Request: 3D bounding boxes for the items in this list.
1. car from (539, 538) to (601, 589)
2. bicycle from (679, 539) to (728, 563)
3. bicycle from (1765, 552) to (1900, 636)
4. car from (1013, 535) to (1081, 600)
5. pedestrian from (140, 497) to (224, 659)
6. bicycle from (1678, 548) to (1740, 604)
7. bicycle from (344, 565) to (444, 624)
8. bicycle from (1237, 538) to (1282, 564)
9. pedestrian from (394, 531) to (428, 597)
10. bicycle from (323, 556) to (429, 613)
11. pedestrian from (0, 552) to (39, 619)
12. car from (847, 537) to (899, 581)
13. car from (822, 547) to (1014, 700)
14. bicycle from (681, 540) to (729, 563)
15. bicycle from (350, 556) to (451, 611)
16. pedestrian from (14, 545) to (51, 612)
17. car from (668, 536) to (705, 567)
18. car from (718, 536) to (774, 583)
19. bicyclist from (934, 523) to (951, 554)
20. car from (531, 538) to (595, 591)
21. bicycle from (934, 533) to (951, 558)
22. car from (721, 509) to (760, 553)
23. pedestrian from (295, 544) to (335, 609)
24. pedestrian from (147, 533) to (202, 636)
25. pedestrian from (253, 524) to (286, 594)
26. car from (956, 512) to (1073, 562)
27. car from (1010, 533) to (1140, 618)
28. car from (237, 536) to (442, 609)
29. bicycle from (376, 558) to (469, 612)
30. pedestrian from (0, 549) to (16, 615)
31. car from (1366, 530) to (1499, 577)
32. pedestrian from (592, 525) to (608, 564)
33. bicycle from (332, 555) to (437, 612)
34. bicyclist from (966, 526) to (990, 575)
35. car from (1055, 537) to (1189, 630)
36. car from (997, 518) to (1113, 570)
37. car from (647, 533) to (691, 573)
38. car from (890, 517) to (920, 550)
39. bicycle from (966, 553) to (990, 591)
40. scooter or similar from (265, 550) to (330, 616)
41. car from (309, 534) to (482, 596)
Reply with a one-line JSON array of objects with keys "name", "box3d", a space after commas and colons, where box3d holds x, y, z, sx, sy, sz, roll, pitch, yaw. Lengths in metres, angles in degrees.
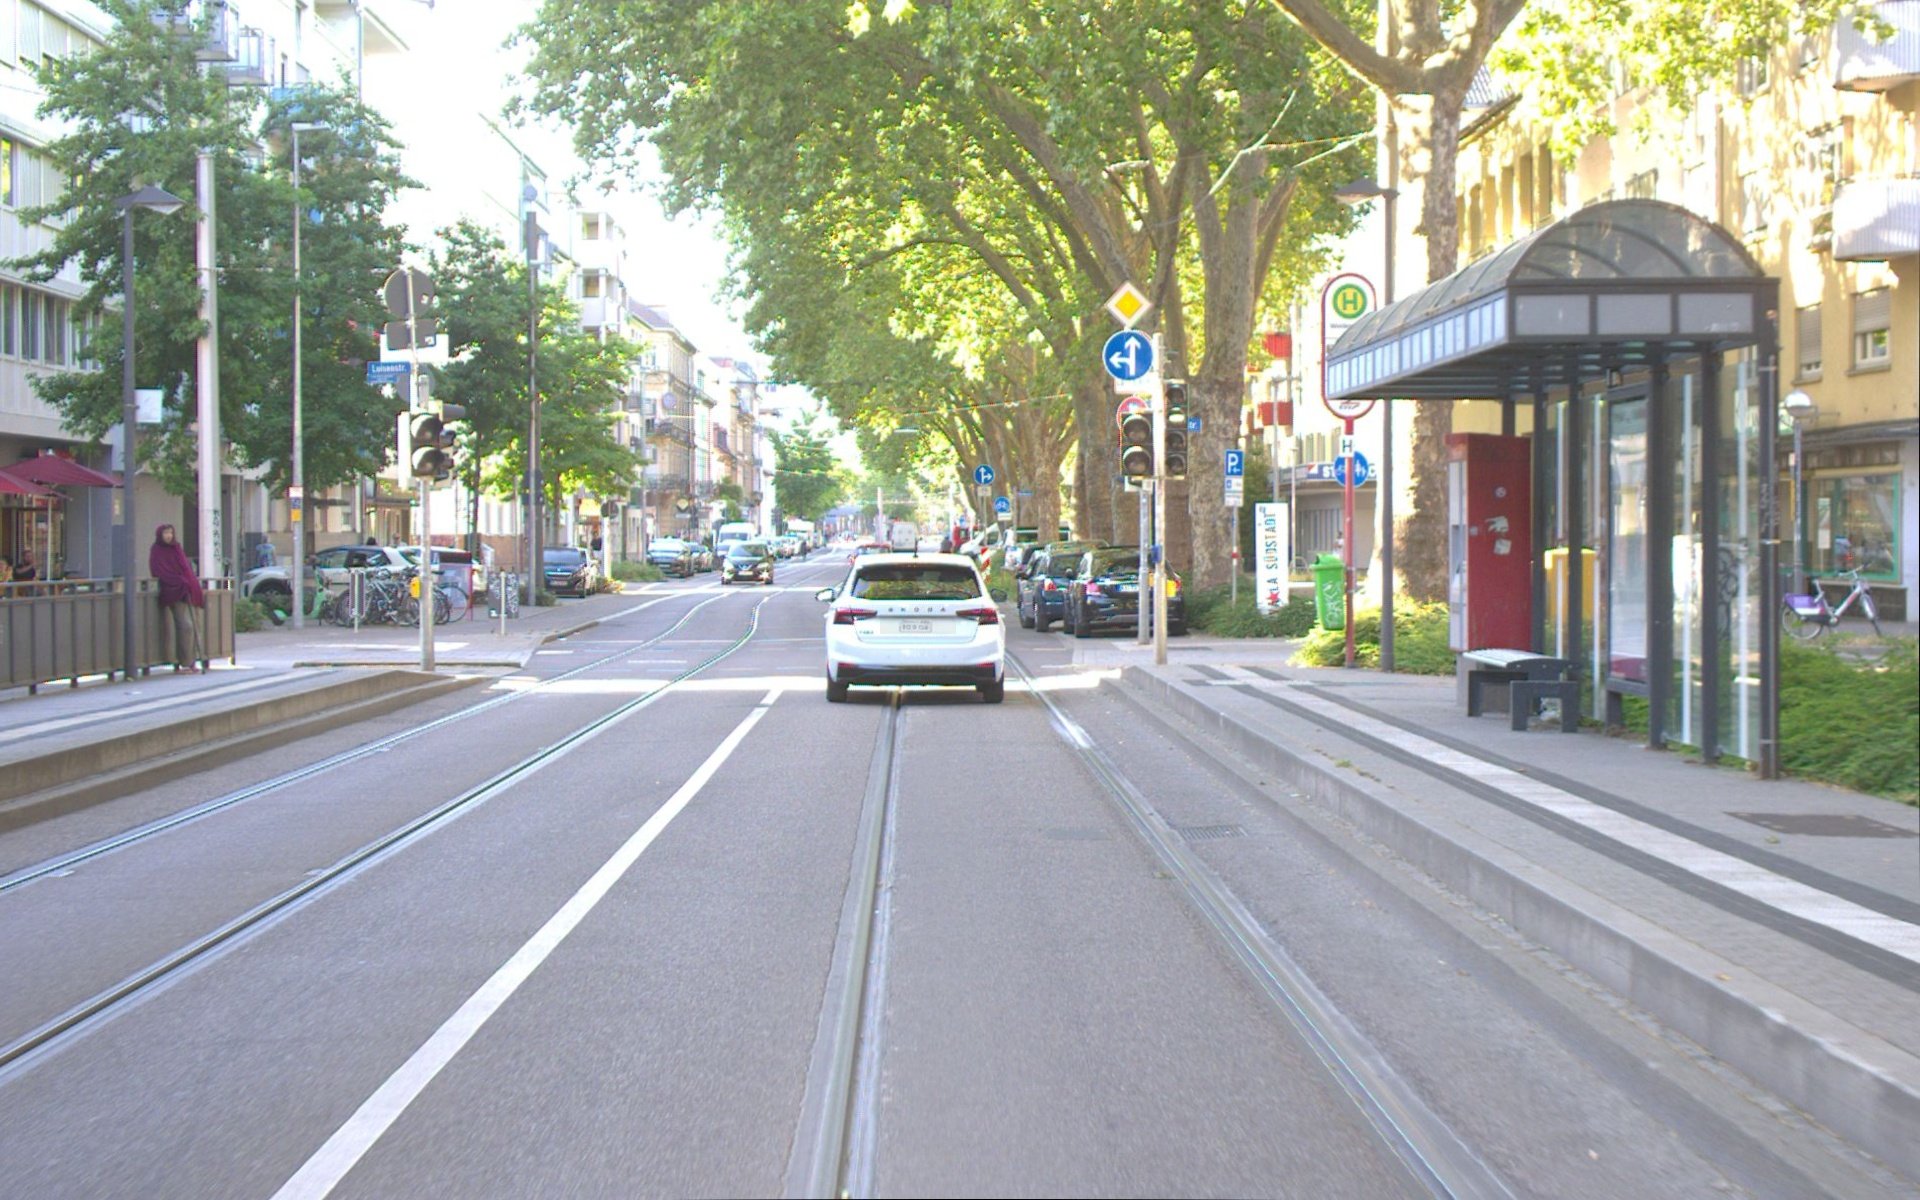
[{"name": "car", "box3d": [-11.983, -1.124, 105.814, 1.713, 1.459, 4.378, 3, 1, -5]}, {"name": "bicycle", "box3d": [-13.646, -2.592, 183.175, 2.525, 1.168, 0.883, 2, -1, -40]}, {"name": "bicycle", "box3d": [12.809, -0.089, 50.459, 1.791, 1.153, 0.746, -2, 1, -22]}, {"name": "car", "box3d": [2.111, -0.783, 83.602, 1.564, 1.514, 2.910, -2, 0, 1]}, {"name": "pedestrian", "box3d": [-7.678, -0.221, 33.945, 0.654, 1.579, 0.772, 0, 1, 0]}, {"name": "bicycle", "box3d": [13.731, -0.444, 63.047, 0.570, 0.993, 1.781, -2, 1, -5]}, {"name": "bicycle", "box3d": [-9.963, -0.103, 60.551, 1.690, 1.003, 0.658, 1, 0, -5]}, {"name": "bicycle", "box3d": [12.699, -2.064, 145.871, 1.791, 1.038, 0.618, -2, 1, -4]}, {"name": "pedestrian", "box3d": [-13.996, -0.923, 87.631, 0.763, 1.685, 0.795, 0, 1, -2]}, {"name": "bicycle", "box3d": [-10.534, -0.284, 62.029, 1.829, 1.003, 0.658, 1, 0, -5]}, {"name": "pedestrian", "box3d": [-16.875, -0.263, 61.397, 0.600, 1.194, 0.692, -1, 1, -36]}, {"name": "car", "box3d": [-2.992, -1.443, 119.224, 1.761, 1.470, 4.000, -1, 1, -1]}, {"name": "car", "box3d": [-0.461, 0.190, 33.853, 1.761, 1.379, 4.001, -1, 1, -2]}, {"name": "bicycle", "box3d": [-13.651, -2.606, 184.011, 2.524, 1.168, 0.719, 2, -1, -7]}, {"name": "bicycle", "box3d": [-10.450, -0.305, 64.249, 1.829, 1.003, 0.658, 1, 0, -5]}, {"name": "pedestrian", "box3d": [-16.803, -0.389, 62.262, 0.511, 1.194, 0.564, -1, 1, -30]}, {"name": "car", "box3d": [-13.196, -2.356, 165.938, 1.653, 1.432, 3.837, 0, 1, -2]}, {"name": "car", "box3d": [-7.660, -1.459, 123.312, 1.871, 1.584, 4.147, 2, 1, -2]}, {"name": "bicyclist", "box3d": [-0.755, -2.654, 148.002, 0.649, 1.339, 0.934, -1, 1, -3]}, {"name": "car", "box3d": [-11.696, -1.059, 101.030, 1.713, 1.459, 4.001, 3, 1, -8]}, {"name": "bicycle", "box3d": [-0.746, -2.342, 147.995, 0.649, 1.067, 1.583, -1, 1, -3]}, {"name": "car", "box3d": [-14.394, -4.550, 225.528, 2.342, 2.851, 4.000, 0, 1, -1]}, {"name": "pedestrian", "box3d": [-13.060, -0.477, 69.601, 0.712, 1.293, 0.748, -1, 1, -15]}, {"name": "pedestrian", "box3d": [-12.027, -0.247, 52.649, 0.725, 1.551, 0.769, -1, 1, -6]}, {"name": "pedestrian", "box3d": [-16.528, -0.984, 82.293, 0.663, 1.685, 0.749, 0, 1, -2]}, {"name": "car", "box3d": [2.923, -3.394, 185.385, 6.129, 2.626, 2.529, 0, 1, -2]}, {"name": "car", "box3d": [2.035, -0.471, 61.922, 1.864, 1.432, 4.227, -1, 1, -4]}, {"name": "car", "box3d": [-13.133, -0.586, 72.912, 4.012, 1.470, 1.852, 1, 1, 0]}, {"name": "bicycle", "box3d": [-10.249, -0.288, 65.604, 1.690, 1.003, 0.658, 1, 0, -5]}, {"name": "pedestrian", "box3d": [-17.844, -0.334, 63.615, 0.562, 1.194, 0.624, -1, 1, -2]}, {"name": "car", "box3d": [16.041, -1.589, 116.791, 4.130, 1.587, 2.000, 0, 1, -6]}, {"name": "pedestrian", "box3d": [-16.708, -2.578, 159.384, 0.663, 1.820, 0.965, 0, 1, -2]}, {"name": "bicycle", "box3d": [-10.449, -0.298, 62.470, 1.829, 1.003, 0.658, 1, 0, -5]}, {"name": "bicyclist", "box3d": [0.517, -1.460, 100.899, 0.678, 1.438, 1.047, -1, 1, 0]}, {"name": "car", "box3d": [2.637, -0.314, 56.906, 1.764, 1.457, 5.013, 0, 1, -2]}, {"name": "car", "box3d": [3.804, -2.255, 138.405, 4.543, 2.069, 2.001, 0, 1, -3]}, {"name": "car", "box3d": [-12.728, -2.063, 150.396, 1.702, 1.645, 4.242, 2, 1, -2]}, {"name": "car", "box3d": [-4.075, -4.917, 253.885, 2.202, 2.379, 4.000, 0, 1, -1]}, {"name": "bicycle", "box3d": [0.523, -0.828, 100.942, 0.681, 1.067, 1.781, -1, 1, 0]}, {"name": "scooter or similar", "box3d": [-12.021, -0.307, 62.441, 1.079, 1.172, 0.498, 1, 0, -2]}, {"name": "car", "box3d": [-13.856, -0.862, 84.542, 4.012, 1.470, 1.852, 1, 1, -3]}]
